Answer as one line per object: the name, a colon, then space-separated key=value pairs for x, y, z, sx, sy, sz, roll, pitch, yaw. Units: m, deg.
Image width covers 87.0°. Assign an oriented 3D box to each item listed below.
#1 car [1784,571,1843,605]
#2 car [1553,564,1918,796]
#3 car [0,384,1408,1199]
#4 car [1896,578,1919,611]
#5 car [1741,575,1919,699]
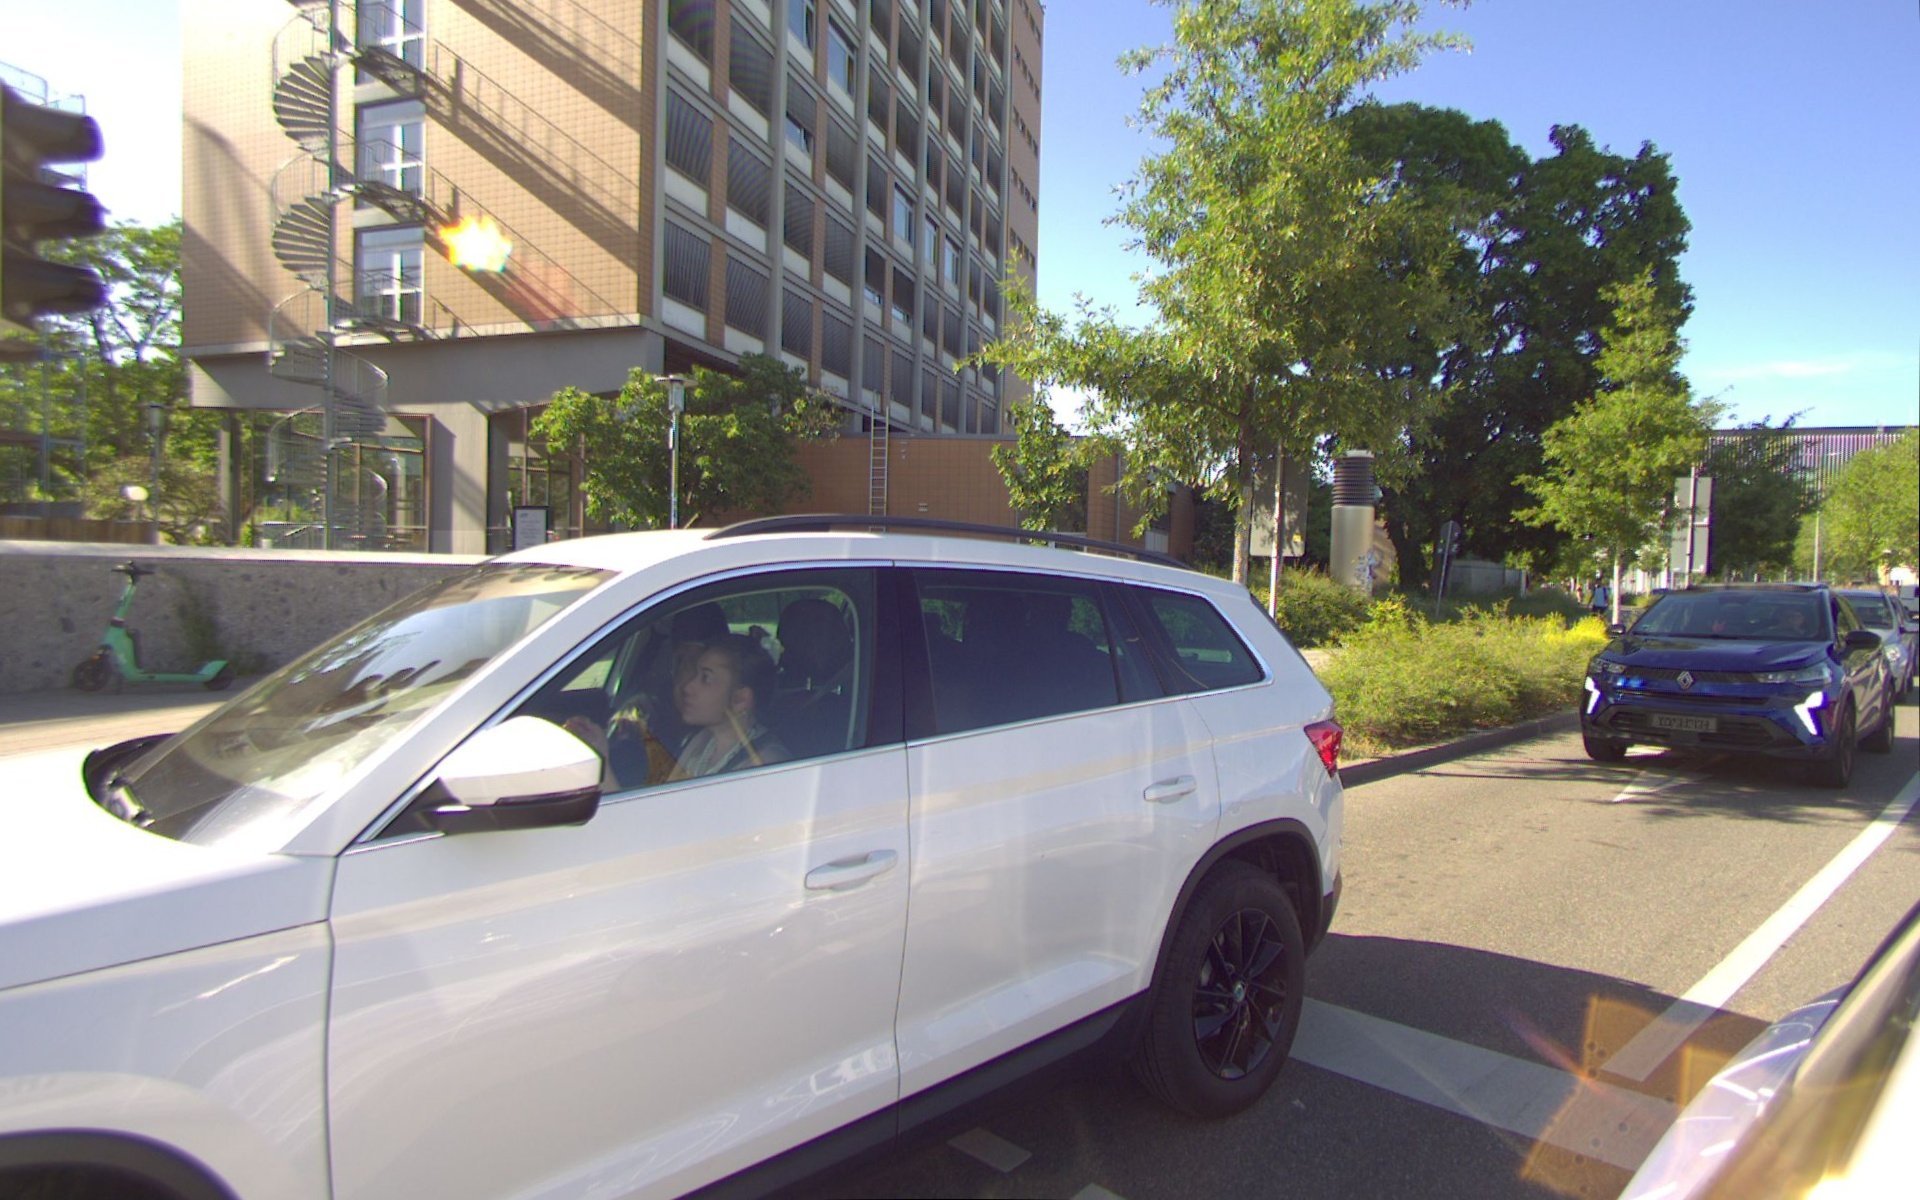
car: x=38.632 y=-0.531 z=45.763 sx=1.914 sy=1.476 sz=4.598 roll=0 pitch=1 yaw=42
car: x=7.170 y=0.548 z=9.221 sx=3.942 sy=1.650 sz=1.884 roll=-1 pitch=0 yaw=-41
car: x=-0.762 y=0.563 z=2.714 sx=4.318 sy=1.665 sz=1.868 roll=0 pitch=1 yaw=-40
car: x=54.119 y=-0.306 z=55.005 sx=2.373 sy=1.826 sz=5.219 roll=0 pitch=0 yaw=12
car: x=13.557 y=0.469 z=15.422 sx=3.942 sy=1.650 sz=1.884 roll=-1 pitch=0 yaw=-41
